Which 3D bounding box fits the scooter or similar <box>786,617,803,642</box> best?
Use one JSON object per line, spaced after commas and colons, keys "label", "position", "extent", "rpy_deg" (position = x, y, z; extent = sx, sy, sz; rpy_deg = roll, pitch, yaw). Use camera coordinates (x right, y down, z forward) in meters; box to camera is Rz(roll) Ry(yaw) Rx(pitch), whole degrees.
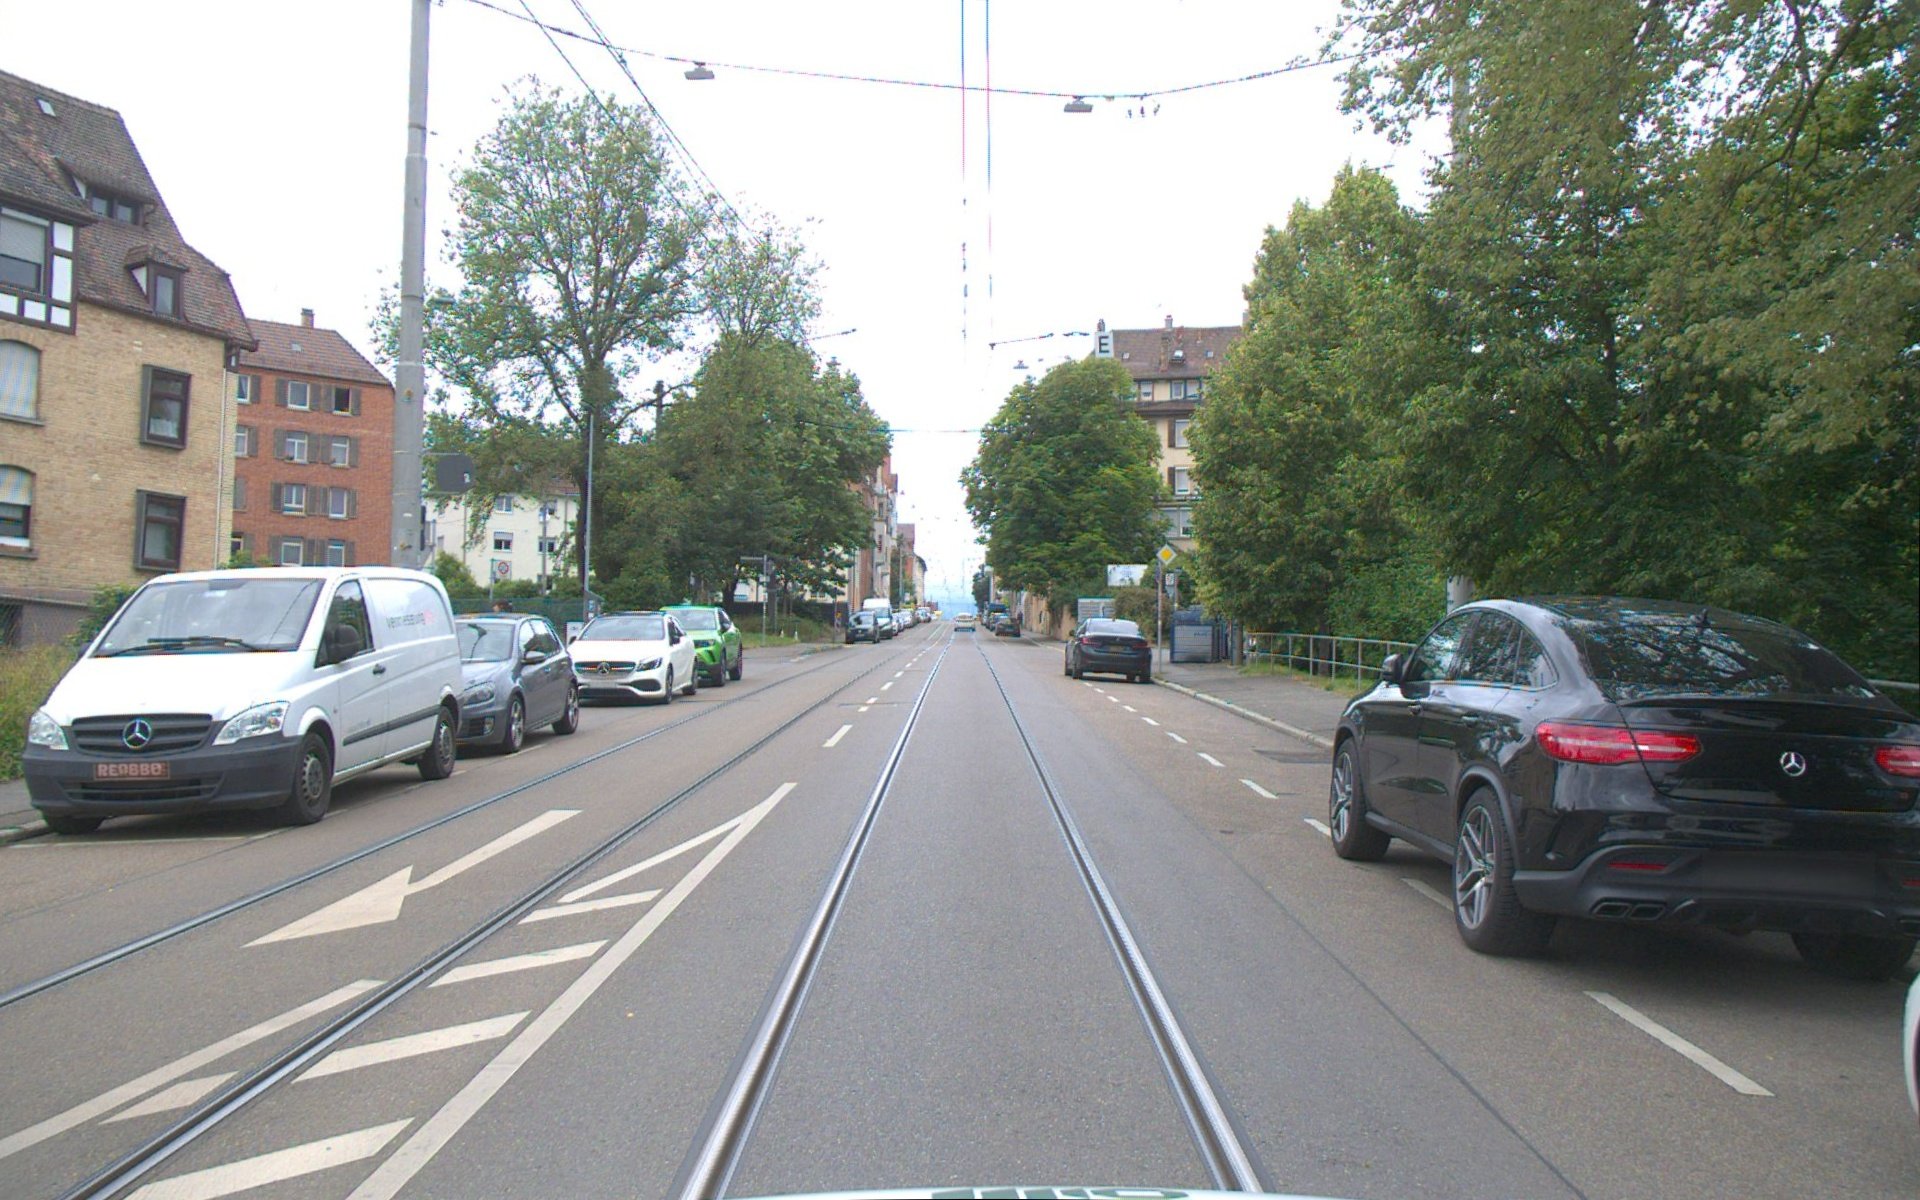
{"label": "scooter or similar", "position": [-8.900, 1.585, 88.742], "extent": [0.676, 1.362, 1.639], "rpy_deg": [1, -1, 1]}

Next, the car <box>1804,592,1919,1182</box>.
{"label": "car", "position": [3.626, 0.869, 3.241], "extent": [1.691, 1.659, 4.087], "rpy_deg": [4, 0, -1]}

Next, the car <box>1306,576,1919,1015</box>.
{"label": "car", "position": [3.400, 0.817, 9.267], "extent": [1.839, 1.707, 5.063], "rpy_deg": [3, 0, 1]}

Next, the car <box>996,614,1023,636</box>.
{"label": "car", "position": [3.658, 1.900, 122.739], "extent": [1.952, 1.557, 4.312], "rpy_deg": [1, -1, 1]}

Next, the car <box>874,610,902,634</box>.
{"label": "car", "position": [-5.153, 1.606, 118.511], "extent": [1.953, 1.628, 4.310], "rpy_deg": [1, -1, -2]}

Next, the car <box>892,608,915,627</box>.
{"label": "car", "position": [-5.165, 1.634, 152.033], "extent": [1.884, 1.629, 4.000], "rpy_deg": [1, -1, 0]}

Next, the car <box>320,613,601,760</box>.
{"label": "car", "position": [-5.563, 0.897, 19.058], "extent": [1.857, 1.458, 4.511], "rpy_deg": [0, 0, 0]}

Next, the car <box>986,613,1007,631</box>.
{"label": "car", "position": [3.454, 2.086, 155.898], "extent": [1.952, 1.680, 4.000], "rpy_deg": [0, -1, 1]}

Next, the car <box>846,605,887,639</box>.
{"label": "car", "position": [-5.293, 1.257, 93.708], "extent": [1.952, 1.840, 4.000], "rpy_deg": [1, -1, 1]}

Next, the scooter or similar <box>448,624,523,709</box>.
{"label": "scooter or similar", "position": [-6.965, 0.969, 24.272], "extent": [0.799, 1.217, 0.828], "rpy_deg": [2, -2, -37]}

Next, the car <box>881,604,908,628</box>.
{"label": "car", "position": [-5.344, 1.303, 135.467], "extent": [1.952, 1.844, 4.312], "rpy_deg": [1, -1, 1]}

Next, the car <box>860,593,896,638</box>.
{"label": "car", "position": [-5.327, 1.045, 108.204], "extent": [2.186, 2.813, 5.796], "rpy_deg": [1, -1, -2]}

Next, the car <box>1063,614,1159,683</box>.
{"label": "car", "position": [3.554, 1.125, 39.632], "extent": [1.791, 1.455, 4.847], "rpy_deg": [3, -1, 0]}

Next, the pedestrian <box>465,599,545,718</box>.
{"label": "pedestrian", "position": [-6.500, 0.833, 23.634], "extent": [0.799, 1.657, 0.904], "rpy_deg": [2, -2, -37]}

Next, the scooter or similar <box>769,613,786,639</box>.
{"label": "scooter or similar", "position": [-9.827, 1.396, 88.923], "extent": [0.676, 1.362, 1.639], "rpy_deg": [1, -1, 1]}

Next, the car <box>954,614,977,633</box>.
{"label": "car", "position": [0.472, 2.013, 141.622], "extent": [1.953, 1.525, 4.311], "rpy_deg": [1, -1, 0]}

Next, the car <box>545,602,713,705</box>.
{"label": "car", "position": [-5.373, 0.837, 27.451], "extent": [1.846, 1.553, 4.663], "rpy_deg": [-1, -1, 0]}

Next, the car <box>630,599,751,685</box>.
{"label": "car", "position": [-5.298, 0.799, 32.997], "extent": [1.688, 1.607, 4.180], "rpy_deg": [0, 0, 0]}

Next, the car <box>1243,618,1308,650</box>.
{"label": "car", "position": [16.023, 1.745, 83.855], "extent": [1.956, 1.505, 4.457], "rpy_deg": [1, -1, 28]}

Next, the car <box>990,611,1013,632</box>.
{"label": "car", "position": [3.572, 1.882, 143.340], "extent": [1.952, 1.747, 4.000], "rpy_deg": [0, -1, 1]}

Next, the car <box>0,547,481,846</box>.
{"label": "car", "position": [-5.565, 0.689, 13.389], "extent": [1.994, 1.914, 4.883], "rpy_deg": [-2, -1, -1]}
